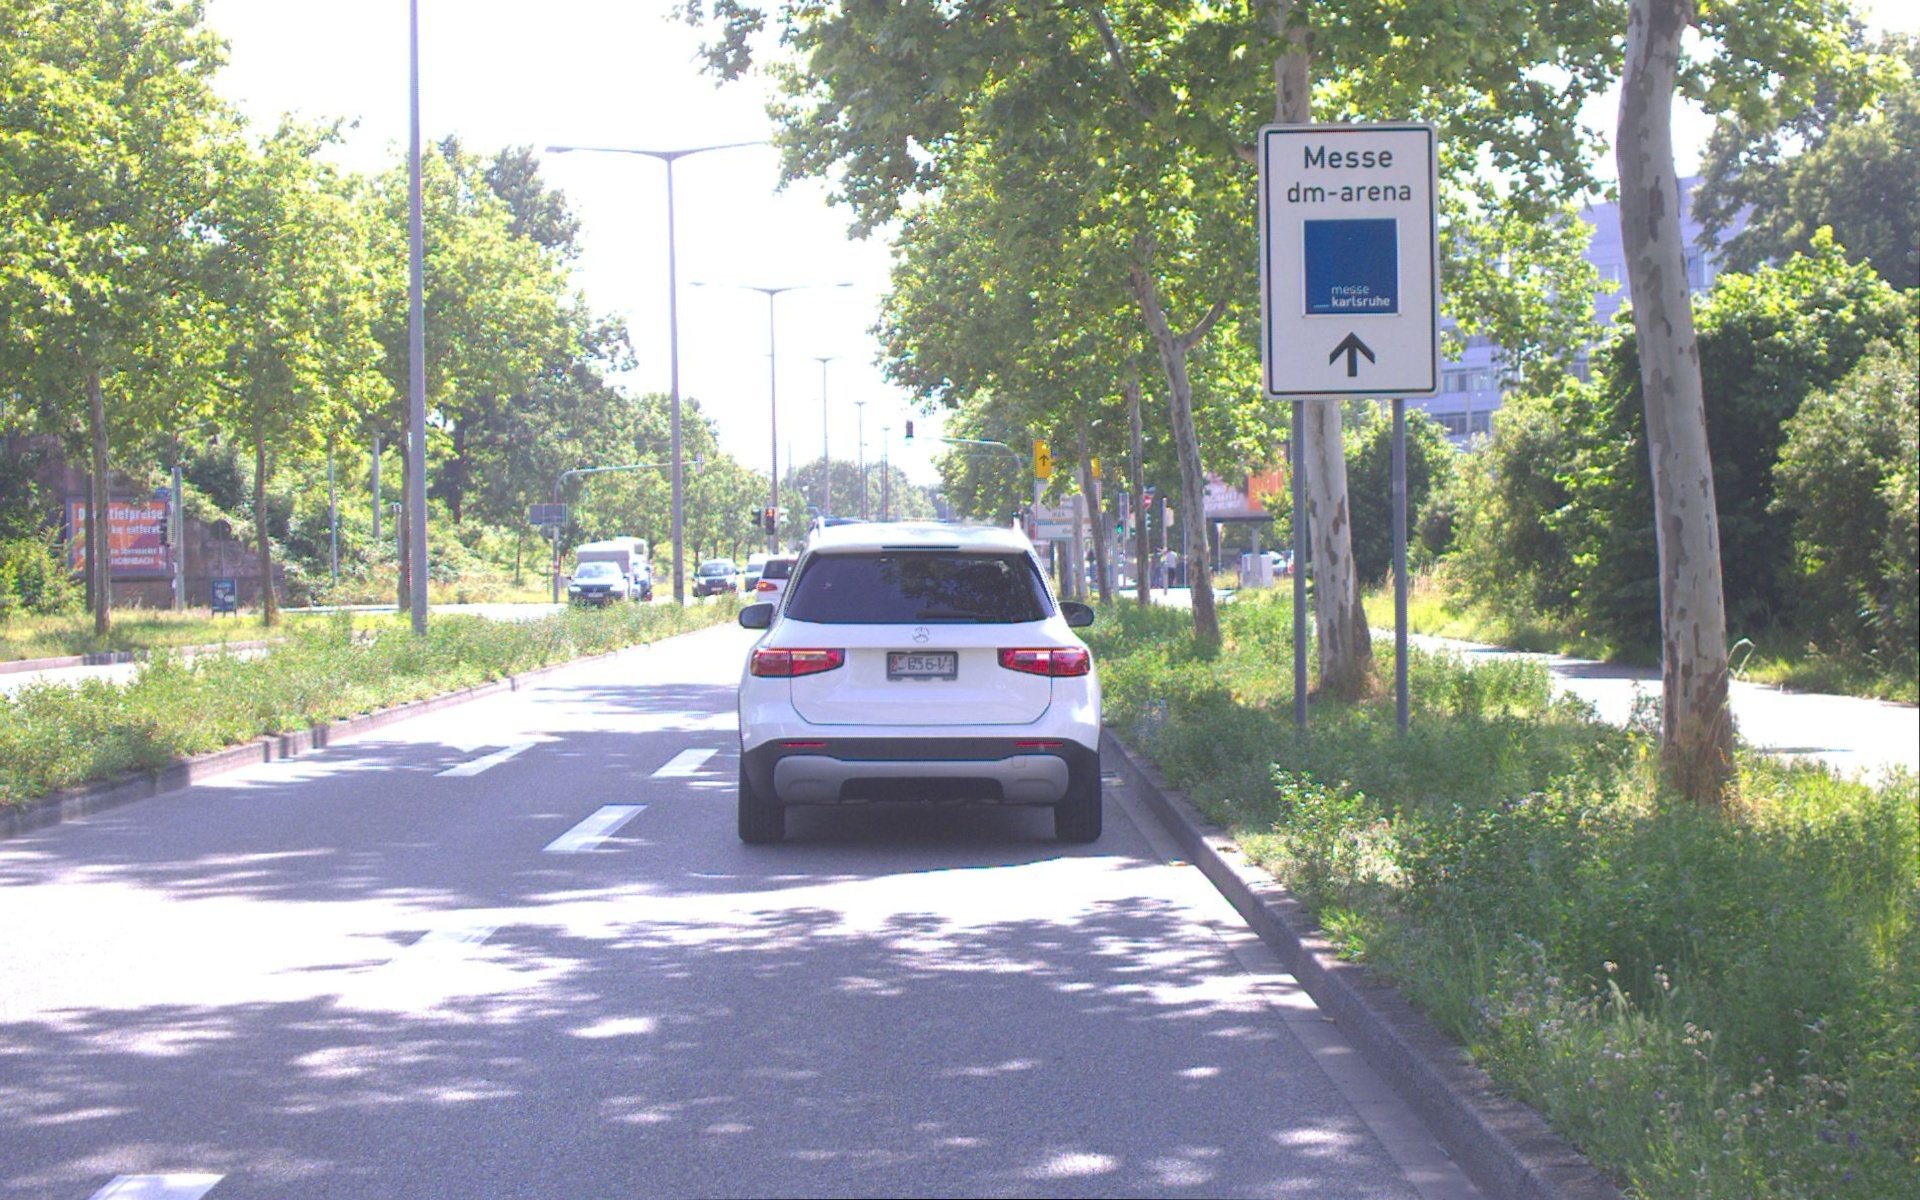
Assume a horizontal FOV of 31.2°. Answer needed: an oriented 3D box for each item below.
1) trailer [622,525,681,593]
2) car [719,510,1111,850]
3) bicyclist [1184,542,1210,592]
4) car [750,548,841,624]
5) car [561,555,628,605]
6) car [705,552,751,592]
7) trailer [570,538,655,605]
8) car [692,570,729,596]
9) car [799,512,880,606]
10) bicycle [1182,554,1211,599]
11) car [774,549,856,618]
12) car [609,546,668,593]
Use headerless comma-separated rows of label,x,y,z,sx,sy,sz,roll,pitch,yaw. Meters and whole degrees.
trailer,-12.697,-1.678,141.826,1.880,2.734,4.828,1,0,1
car,-0.331,0.368,18.452,1.853,1.602,4.001,1,0,-3
bicyclist,7.053,-0.988,102.225,0.704,1.472,1.009,0,0,1
car,-3.647,-0.323,76.965,1.771,1.641,4.352,0,0,1
car,-12.107,-0.669,114.132,1.715,1.616,4.361,0,0,1
car,-10.660,-1.282,157.951,1.731,1.803,4.232,1,0,1
trailer,-12.008,-0.981,119.110,2.309,2.257,5.538,0,0,1
car,-13.295,-0.931,183.227,1.701,1.360,3.646,0,1,0
car,-3.489,-1.189,100.187,2.081,2.647,4.874,1,0,1
bicycle,7.032,-0.700,102.230,0.723,1.294,2.095,0,0,1
car,-3.507,-0.402,83.984,1.771,1.641,4.084,0,0,1
car,-12.771,-1.198,136.857,1.764,1.783,5.376,1,0,1
